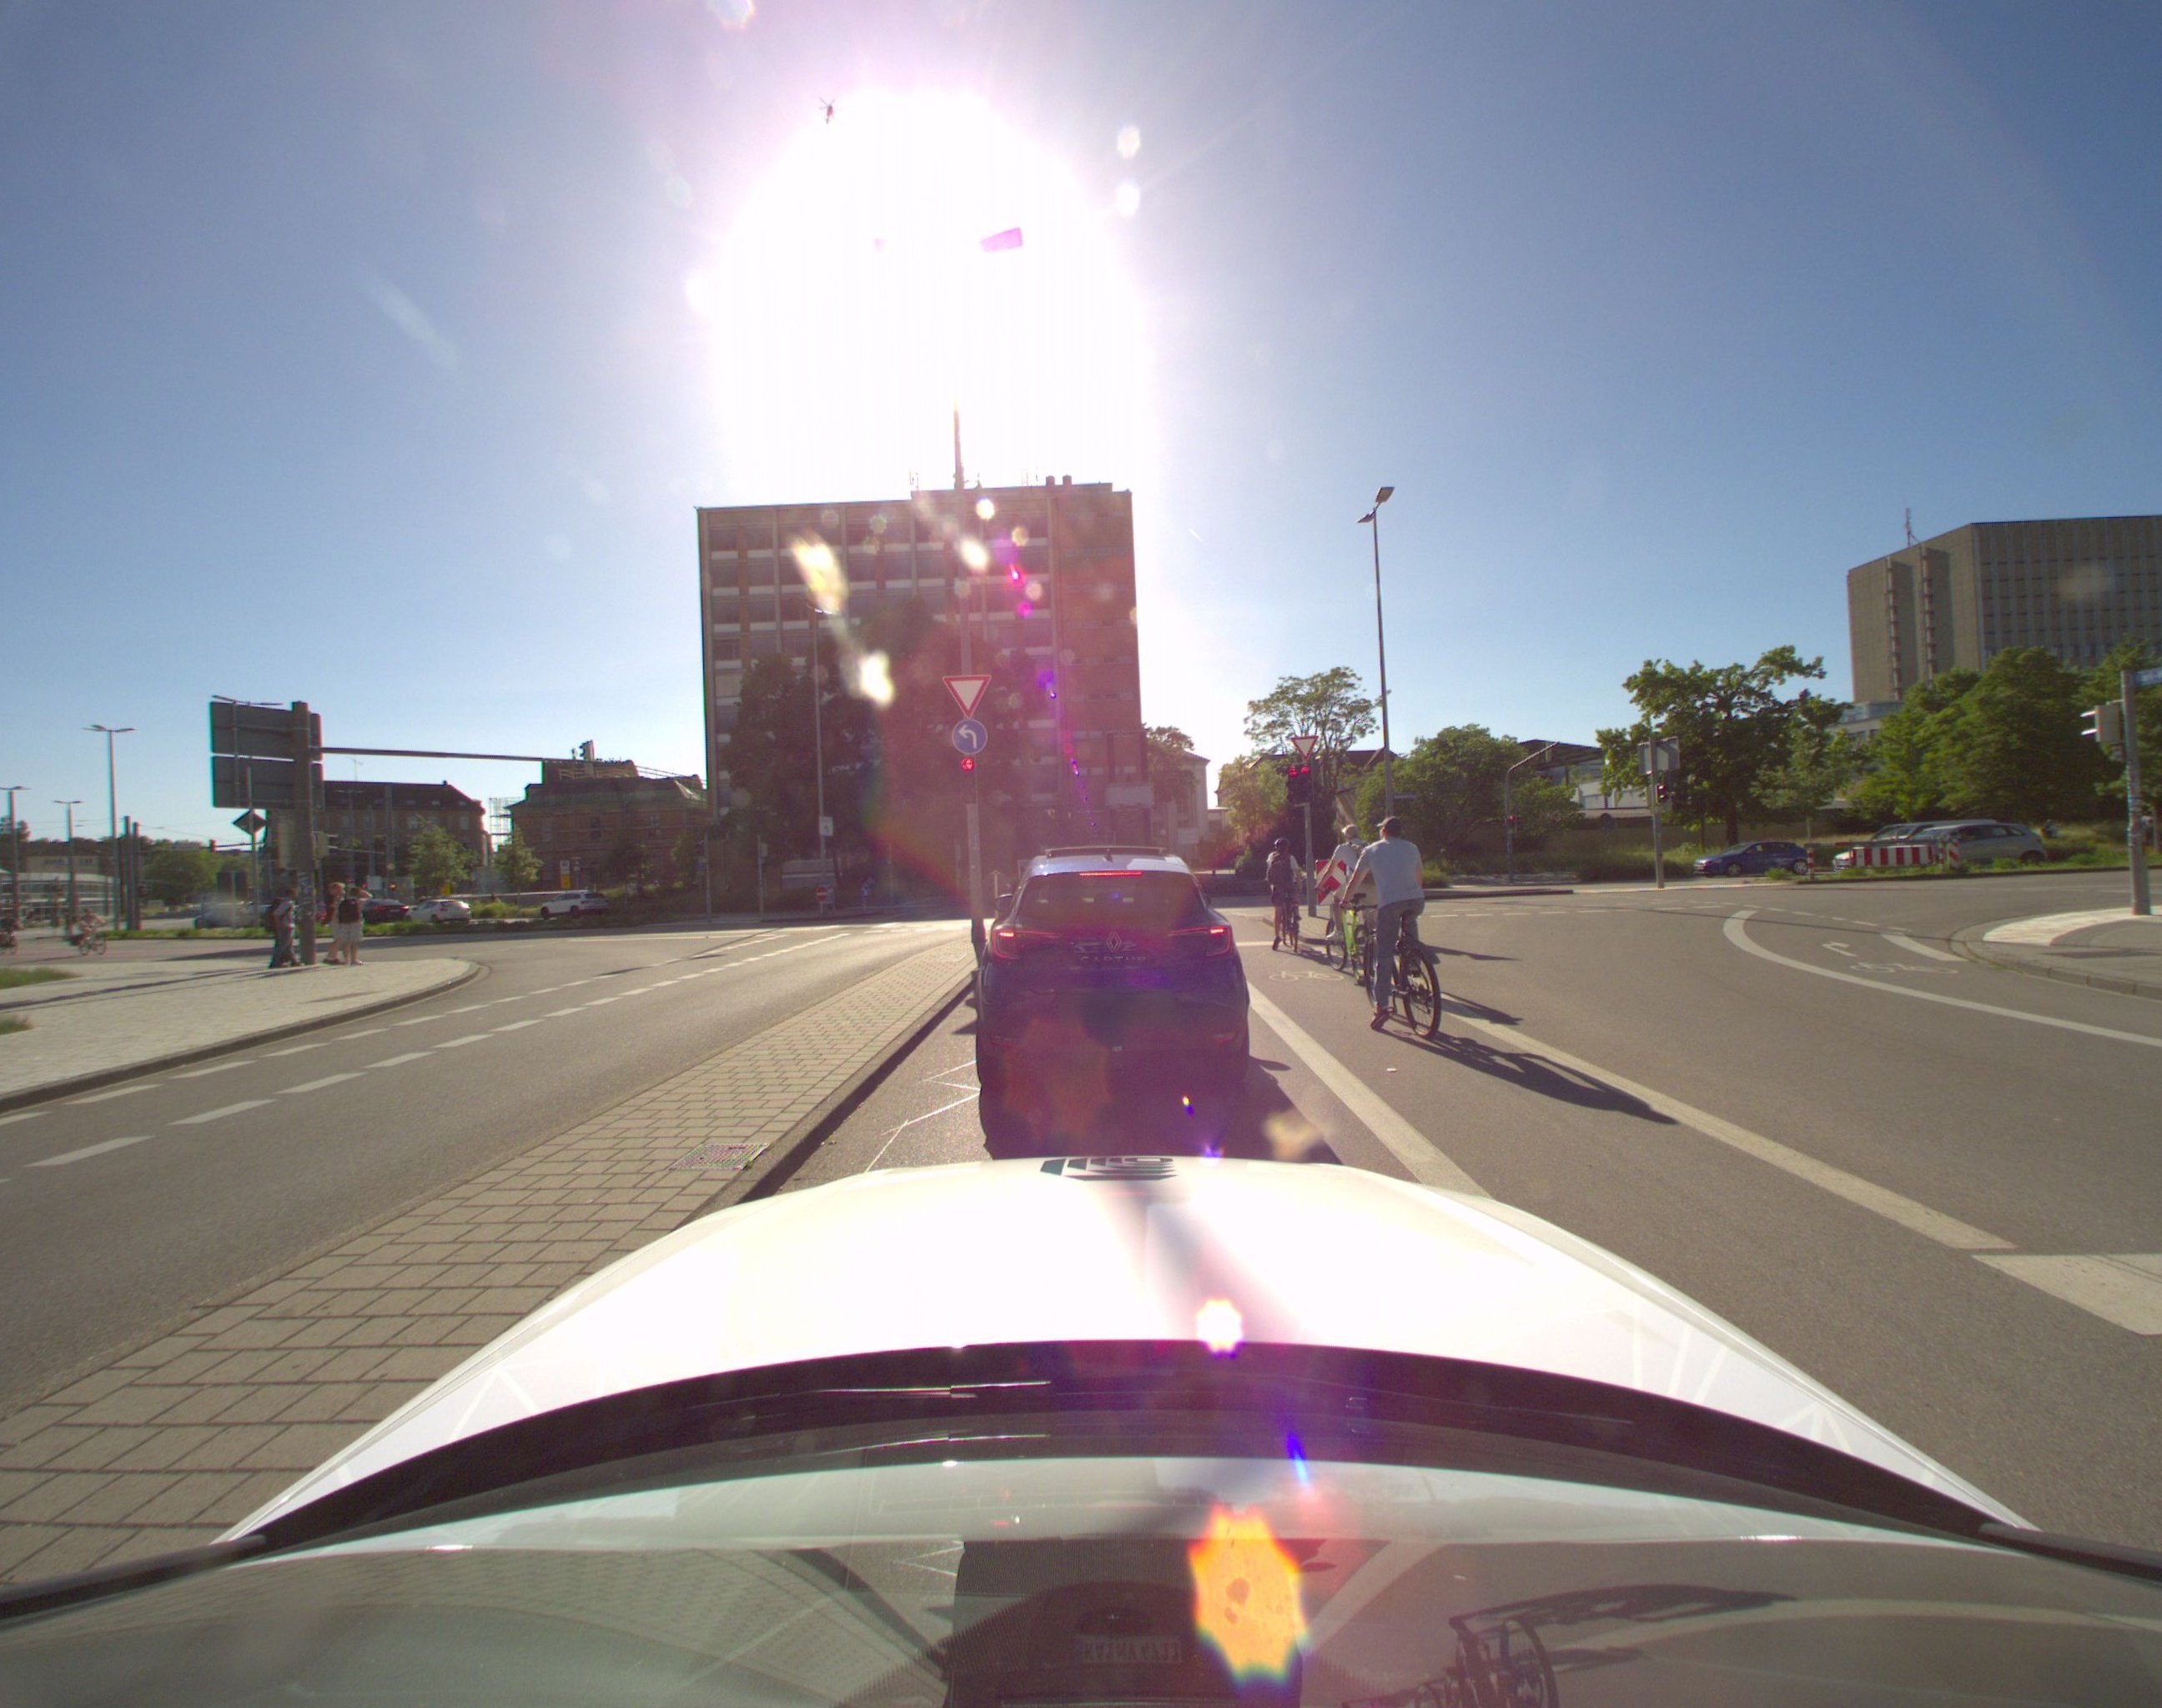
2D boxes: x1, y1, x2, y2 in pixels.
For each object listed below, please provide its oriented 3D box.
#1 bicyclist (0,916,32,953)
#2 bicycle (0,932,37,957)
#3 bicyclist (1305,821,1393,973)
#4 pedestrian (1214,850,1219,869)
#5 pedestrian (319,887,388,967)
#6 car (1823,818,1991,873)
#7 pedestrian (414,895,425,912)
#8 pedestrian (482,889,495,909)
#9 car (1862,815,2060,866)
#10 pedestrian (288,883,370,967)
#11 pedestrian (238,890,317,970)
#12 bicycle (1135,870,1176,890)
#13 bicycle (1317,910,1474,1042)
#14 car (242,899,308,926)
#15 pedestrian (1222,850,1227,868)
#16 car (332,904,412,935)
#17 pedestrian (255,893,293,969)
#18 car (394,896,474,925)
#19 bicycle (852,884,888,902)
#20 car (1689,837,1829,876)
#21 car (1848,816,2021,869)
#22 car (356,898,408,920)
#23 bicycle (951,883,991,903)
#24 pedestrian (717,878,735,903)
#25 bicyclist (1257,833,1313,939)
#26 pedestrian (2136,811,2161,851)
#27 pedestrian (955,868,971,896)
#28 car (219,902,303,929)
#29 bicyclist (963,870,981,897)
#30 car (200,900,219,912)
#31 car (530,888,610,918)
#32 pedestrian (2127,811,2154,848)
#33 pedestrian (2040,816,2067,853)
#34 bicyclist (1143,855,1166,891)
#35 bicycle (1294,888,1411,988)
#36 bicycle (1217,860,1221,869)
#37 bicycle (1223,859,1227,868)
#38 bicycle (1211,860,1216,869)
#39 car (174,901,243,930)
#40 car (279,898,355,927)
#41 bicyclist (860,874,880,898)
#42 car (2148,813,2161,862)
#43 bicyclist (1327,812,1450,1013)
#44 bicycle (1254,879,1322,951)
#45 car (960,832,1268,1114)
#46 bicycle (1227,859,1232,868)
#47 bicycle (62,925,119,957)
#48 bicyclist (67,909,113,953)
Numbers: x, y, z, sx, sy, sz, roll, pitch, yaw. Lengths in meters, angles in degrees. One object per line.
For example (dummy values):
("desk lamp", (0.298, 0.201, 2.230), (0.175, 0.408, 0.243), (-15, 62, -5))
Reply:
("bicyclist", (-43.384, 3.268, 33.061), (1.114, 1.422, 0.691), (-5, -1, 24))
("bicycle", (-43.355, 3.684, 33.048), (1.966, 0.918, 0.691), (-5, -1, 22))
("bicyclist", (3.214, 0.494, 9.852), (0.644, 1.739, 1.065), (0, -1, -4))
("pedestrian", (15.106, 0.600, 90.859), (0.473, 2.014, 0.524), (-2, -1, 8))
("pedestrian", (-16.301, 1.615, 18.264), (0.787, 1.690, 0.791), (-5, -3, 11))
("car", (30.822, -0.292, 30.535), (3.962, 1.815, 2.006), (-3, -1, 10))
("pedestrian", (-71.180, 5.321, 87.615), (0.671, 1.735, 0.663), (-3, -1, 32))
("pedestrian", (-48.267, 3.668, 66.342), (0.541, 1.615, 0.653), (-3, -1, 41))
("car", (28.139, -0.402, 26.167), (4.025, 1.408, 1.872), (-2, -1, 8))
("pedestrian", (-17.096, 1.589, 18.538), (0.697, 1.800, 1.108), (-5, -3, 16))
("pedestrian", (-18.077, 1.695, 18.330), (0.900, 1.690, 0.839), (-4, -3, -3))
("bicycle", (4.007, 1.416, 43.678), (2.067, 0.930, 0.698), (-3, 1, 12))
("bicycle", (2.720, 1.013, 7.298), (0.737, 0.896, 1.980), (0, -1, 3))
("car", (-53.813, 3.921, 54.380), (4.331, 1.632, 1.855), (-3, -1, 27))
("pedestrian", (16.218, 0.603, 92.184), (0.473, 2.014, 0.469), (-2, -1, 8))
("car", (-42.561, 3.921, 48.900), (4.334, 1.632, 1.854), (-3, -1, 23))
("pedestrian", (-19.192, 1.811, 19.371), (0.600, 1.729, 0.572), (-2, -1, -45))
("car", (-36.373, 3.179, 45.768), (3.804, 1.435, 1.752), (-2, -1, 20))
("bicycle", (-12.853, 2.375, 49.683), (2.061, 0.964, 0.601), (-3, -1, 13))
("car", (28.218, 0.100, 34.008), (4.140, 1.435, 1.747), (-2, -1, 8))
("car", (35.253, -0.441, 33.760), (4.856, 2.107, 2.002), (0, -1, 4))
("car", (-51.934, 4.101, 60.460), (3.799, 1.435, 1.754), (-3, 0, 31))
("bicycle", (-5.926, 2.112, 44.029), (2.016, 0.964, 0.593), (-2, -1, -25))
("pedestrian", (-24.027, 2.455, 55.113), (0.852, 1.571, 0.563), (-6, -1, 29))
("bicyclist", (3.238, 0.500, 12.989), (0.722, 1.629, 0.970), (0, -1, 6))
("pedestrian", (50.453, -1.091, 38.333), (0.559, 1.848, 0.714), (-2, -1, 5))
("pedestrian", (-7.043, 1.669, 48.679), (0.732, 1.603, 0.601), (-3, -1, 14))
("car", (-49.012, 3.678, 48.667), (4.841, 1.388, 1.854), (-3, -1, 23))
("bicyclist", (-5.888, 1.596, 44.056), (0.741, 1.441, 0.593), (-2, -1, -25))
("car", (-158.039, 9.406, 147.613), (3.948, 2.013, 2.013), (-3, -1, 38))
("car", (-31.546, 3.025, 50.270), (4.779, 1.632, 1.855), (-2, -1, 25))
("pedestrian", (51.995, -1.214, 39.975), (0.559, 1.778, 0.528), (-2, -1, 5))
("pedestrian", (47.497, -0.950, 39.776), (0.559, 1.778, 0.528), (-2, -1, 5))
("bicyclist", (3.944, 1.035, 43.695), (1.094, 1.867, 0.655), (-3, -1, 12))
("bicycle", (3.214, 0.954, 9.854), (0.657, 1.003, 1.967), (0, -1, -4))
("bicycle", (15.880, 1.224, 93.823), (0.403, 0.973, 1.686), (0, -1, 6))
("bicycle", (16.658, 1.078, 94.174), (0.403, 0.973, 1.686), (0, -1, 6))
("bicycle", (15.262, 1.229, 93.882), (0.403, 0.973, 1.686), (0, -1, 6))
("car", (-55.159, 3.908, 51.478), (4.331, 1.632, 1.855), (-3, -1, 27))
("car", (-48.456, 3.685, 51.654), (4.334, 1.632, 1.854), (-3, -1, 23))
("bicyclist", (-12.872, 1.950, 49.686), (0.930, 1.429, 0.601), (-3, -1, 13))
("car", (36.986, -0.624, 25.349), (4.713, 1.584, 2.002), (-2, -1, 3))
("bicyclist", (2.712, 0.492, 7.297), (0.748, 1.668, 1.017), (0, -1, 3))
("bicycle", (3.247, 0.927, 12.936), (0.735, 0.995, 2.177), (0, -1, 6))
("car", (0.203, 0.708, 6.805), (1.798, 1.632, 3.999), (-1, 0, 0))
("bicycle", (17.192, 1.074, 94.174), (0.403, 0.973, 1.686), (0, -1, 6))
("bicycle", (-36.140, 3.181, 29.702), (1.966, 0.995, 0.745), (-5, -1, 22))
("bicyclist", (-36.159, 2.816, 29.715), (1.059, 1.500, 0.745), (-5, -1, 23))
